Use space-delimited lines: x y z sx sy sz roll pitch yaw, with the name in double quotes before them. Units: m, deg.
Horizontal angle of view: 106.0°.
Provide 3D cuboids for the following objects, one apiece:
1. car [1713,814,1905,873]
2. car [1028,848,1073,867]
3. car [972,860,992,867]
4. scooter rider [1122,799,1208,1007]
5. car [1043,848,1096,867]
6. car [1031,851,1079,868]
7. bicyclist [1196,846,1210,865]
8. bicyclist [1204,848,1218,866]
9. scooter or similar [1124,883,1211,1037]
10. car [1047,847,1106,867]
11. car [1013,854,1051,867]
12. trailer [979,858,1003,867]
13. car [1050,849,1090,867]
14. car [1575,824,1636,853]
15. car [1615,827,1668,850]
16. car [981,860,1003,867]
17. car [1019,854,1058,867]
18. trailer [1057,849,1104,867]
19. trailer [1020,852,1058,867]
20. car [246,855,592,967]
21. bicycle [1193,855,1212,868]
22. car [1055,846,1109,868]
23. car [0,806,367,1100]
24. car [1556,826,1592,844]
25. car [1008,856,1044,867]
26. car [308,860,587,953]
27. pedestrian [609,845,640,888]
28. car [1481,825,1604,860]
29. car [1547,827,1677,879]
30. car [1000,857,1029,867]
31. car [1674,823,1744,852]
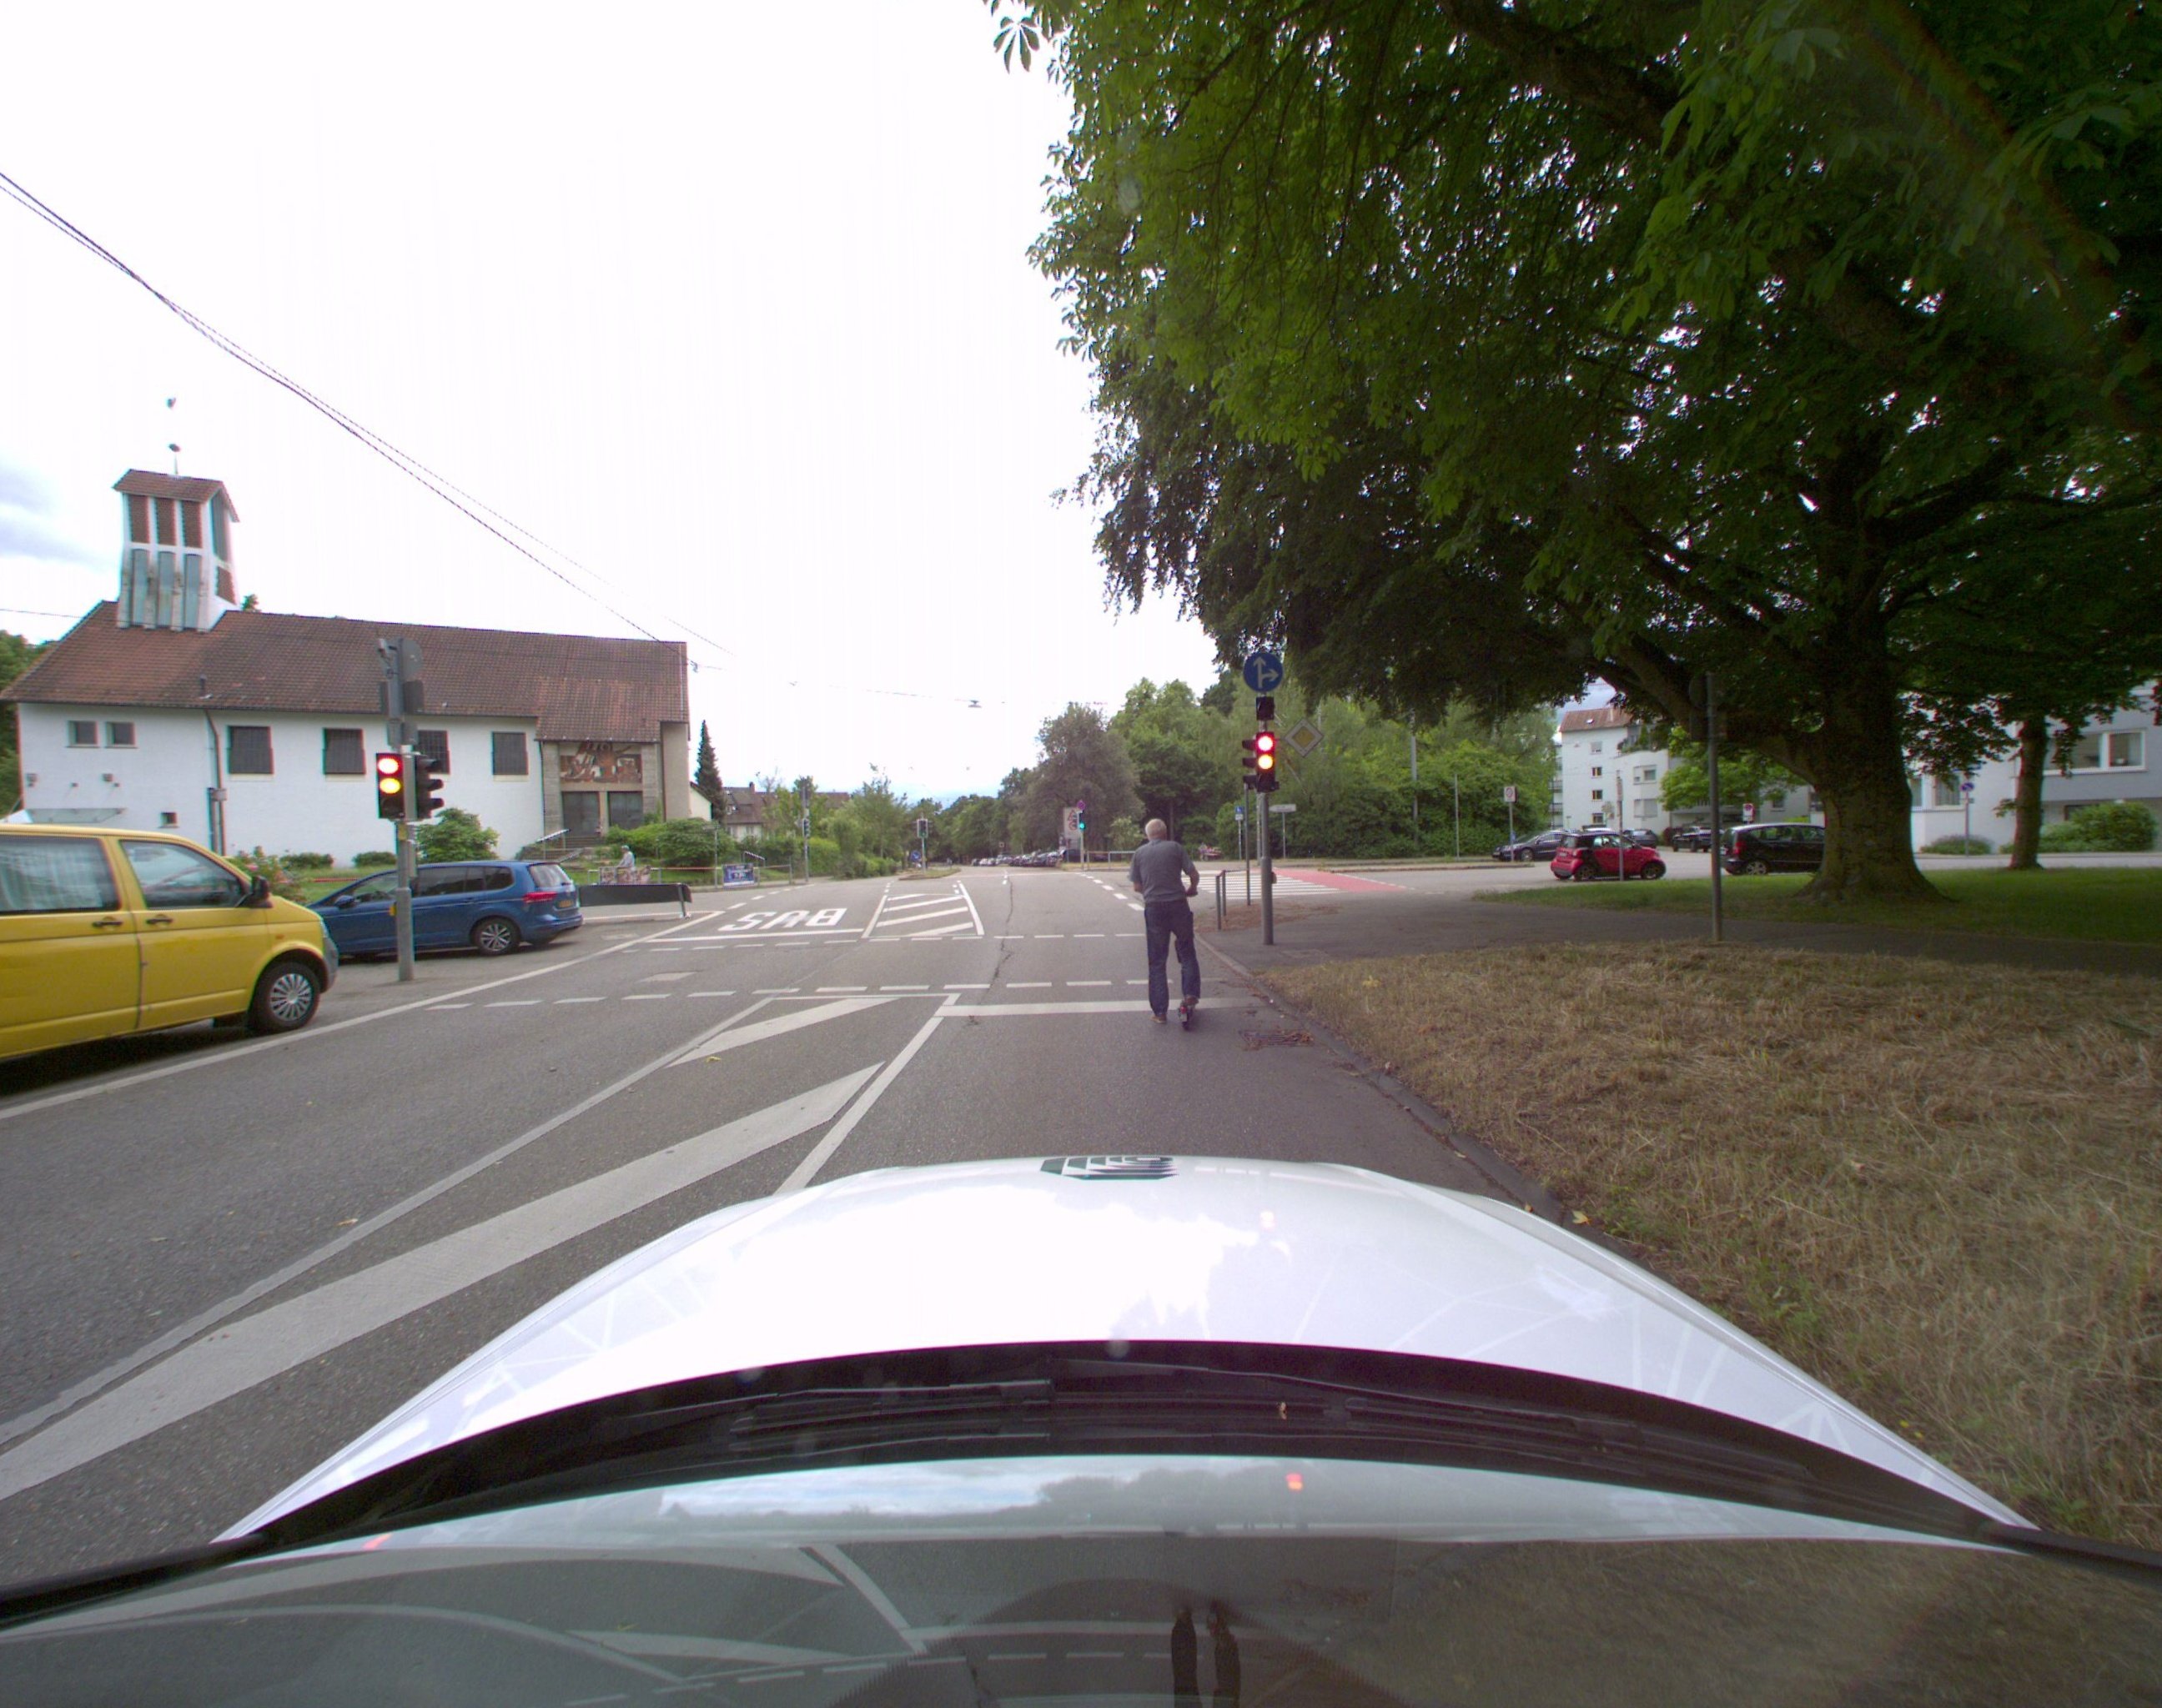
"car" 20.852 -0.278 23.542 3.778 1.591 1.829 -1 0 26
"car" -2.980 0.365 79.419 3.998 1.725 1.670 -2 -1 -19
"car" -21.510 2.059 177.197 3.908 1.429 1.727 -1 -1 -29
"scooter rider" 0.742 0.398 7.409 0.678 1.730 1.198 -1 1 4
"car" -0.989 0.319 70.104 4.231 1.464 1.625 -2 -1 -18
"car" -2.491 0.536 76.753 4.174 1.407 1.686 -1 -1 -21
"bicyclist" 8.250 0.104 55.109 0.633 1.161 0.809 1 5 32
"bicyclist" 9.032 0.203 56.556 0.513 1.187 0.974 -4 -2 34
"scooter or similar" 0.750 0.885 7.308 0.678 1.139 1.461 -1 1 4
"car" -0.348 0.228 62.381 4.149 1.476 1.565 -1 -1 -20
"car" -5.932 0.795 99.308 4.364 1.445 1.621 -1 0 -24
"trailer" -17.288 1.675 156.647 4.179 1.573 1.696 -1 -1 -29
"car" -1.035 0.368 74.960 3.335 1.464 1.625 -2 -1 -18
"car" 28.583 -0.831 44.502 1.788 1.487 3.686 -1 0 16
"car" 39.178 -1.075 57.016 1.913 1.544 4.083 -1 0 18
"car" -17.464 1.821 159.334 3.913 1.309 1.725 -1 -1 -34
"car" -4.657 0.707 89.189 4.049 1.327 1.549 -2 -1 -19
"trailer" -0.035 0.339 65.317 3.412 1.267 1.606 -2 -1 -19
"trailer" -4.442 0.584 86.845 3.702 1.535 1.634 -1 -1 -21
"car" -11.159 0.897 14.085 4.169 1.546 1.838 -2 1 -13
"bicycle" 8.259 0.509 55.132 0.633 0.758 1.692 1 5 32
"car" 0.090 0.210 59.824 3.718 1.476 1.570 -1 0 -12
"car" -8.331 0.702 6.118 1.913 1.989 4.791 -2 0 -5
"car" 44.397 -1.661 73.420 1.913 1.544 4.083 -1 0 18
"car" -7.061 0.932 104.632 4.332 1.341 1.720 -1 -1 -23
"car" -12.334 0.968 16.191 3.903 1.472 1.834 -2 1 -18
"pedestrian" -17.589 0.479 31.385 0.680 1.653 0.836 -1 -1 29
"car" 21.827 -0.545 38.590 4.777 1.438 2.036 -2 1 -5
"car" 16.272 -0.043 25.070 2.897 1.506 1.699 -1 2 6
"car" -9.962 1.134 122.387 3.983 1.405 1.742 -1 -1 -25
"car" 35.892 -0.905 46.674 1.913 1.544 4.083 -1 0 18
